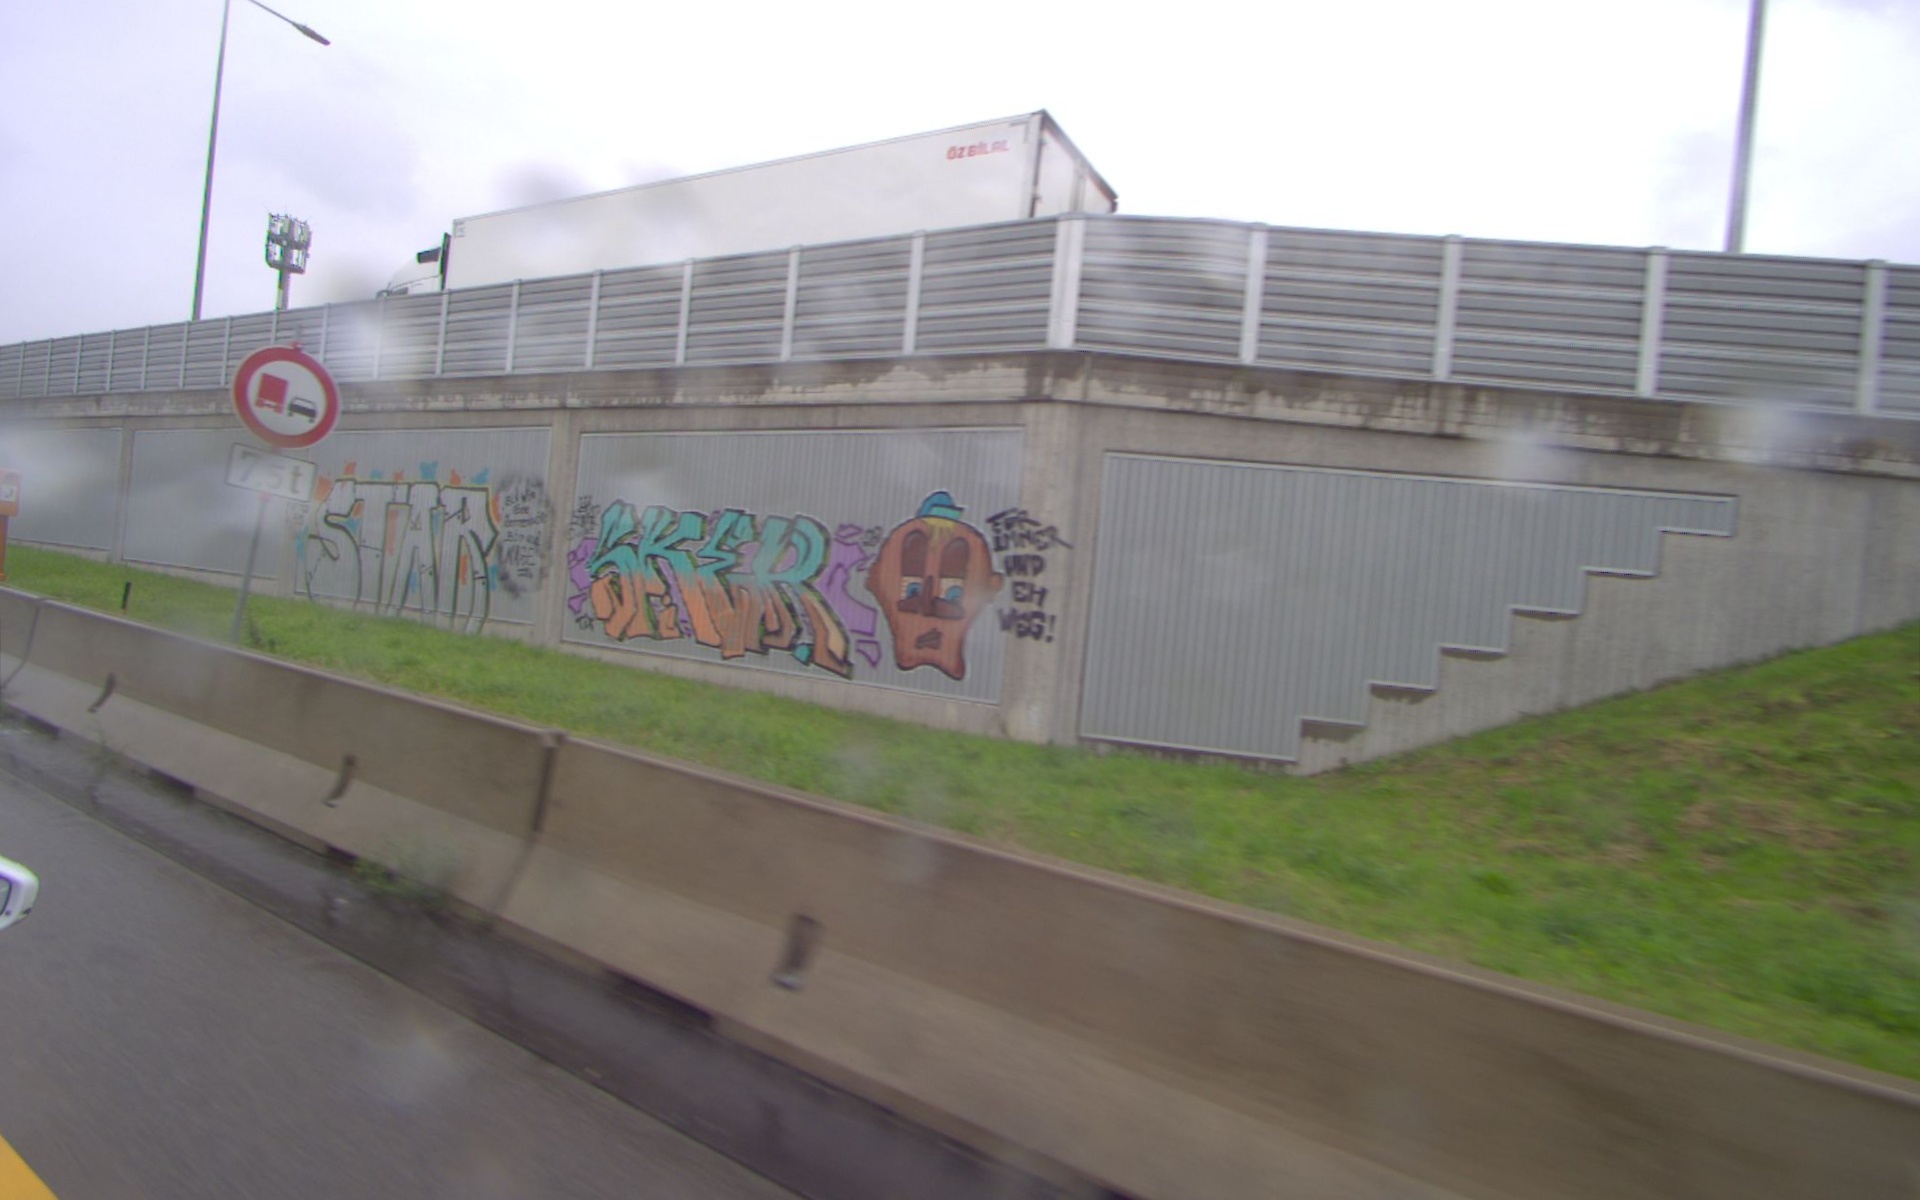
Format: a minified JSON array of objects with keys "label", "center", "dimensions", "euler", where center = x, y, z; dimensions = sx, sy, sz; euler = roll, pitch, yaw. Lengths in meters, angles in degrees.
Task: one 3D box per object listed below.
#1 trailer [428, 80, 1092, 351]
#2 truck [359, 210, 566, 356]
[{"label":"trailer","center":[-4.388,-6.100,17.510],"dimensions":[13.544,2.130,1.996],"euler":[5,-2,32]},{"label":"truck","center":[-10.612,-6.602,21.411],"dimensions":[3.992,2.037,1.997],"euler":[5,-2,32]}]
